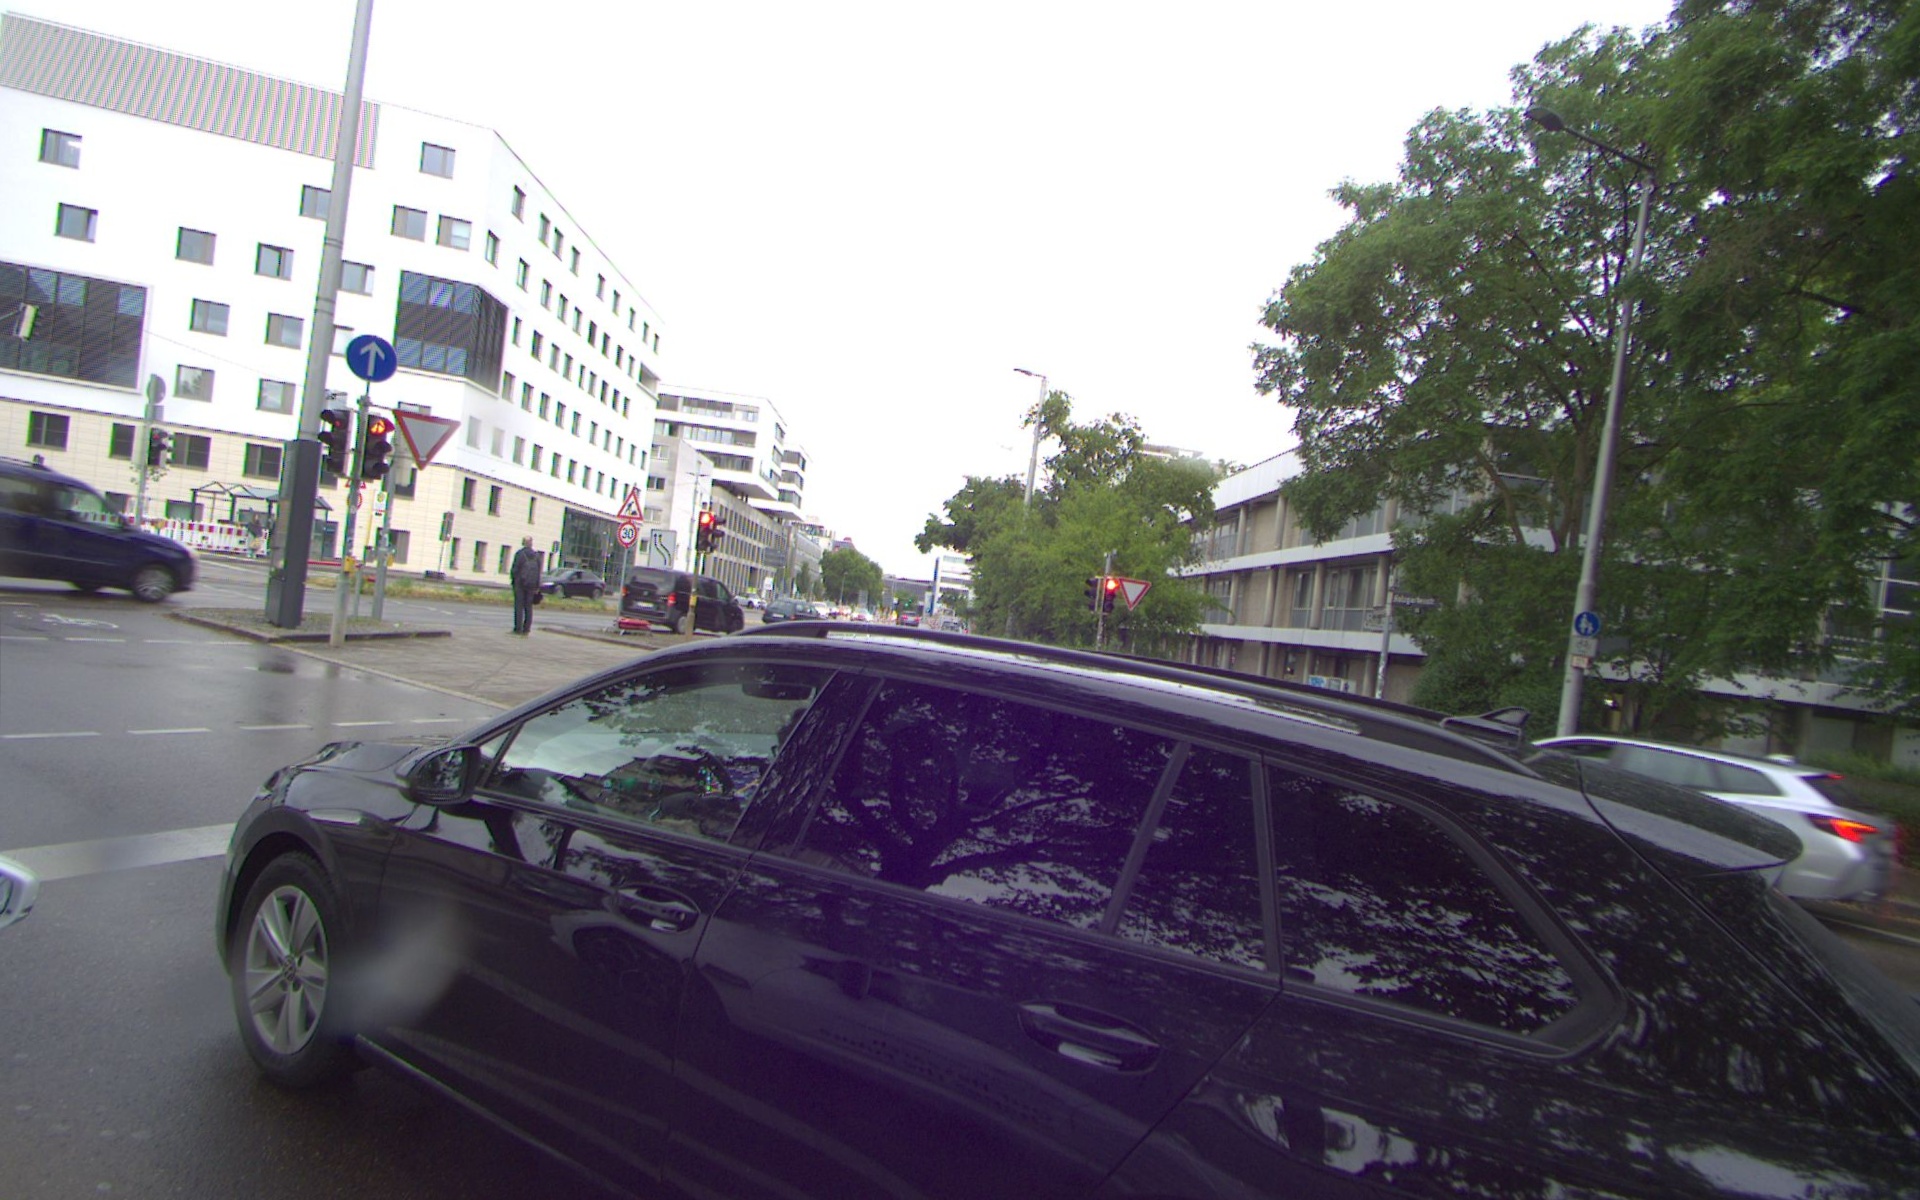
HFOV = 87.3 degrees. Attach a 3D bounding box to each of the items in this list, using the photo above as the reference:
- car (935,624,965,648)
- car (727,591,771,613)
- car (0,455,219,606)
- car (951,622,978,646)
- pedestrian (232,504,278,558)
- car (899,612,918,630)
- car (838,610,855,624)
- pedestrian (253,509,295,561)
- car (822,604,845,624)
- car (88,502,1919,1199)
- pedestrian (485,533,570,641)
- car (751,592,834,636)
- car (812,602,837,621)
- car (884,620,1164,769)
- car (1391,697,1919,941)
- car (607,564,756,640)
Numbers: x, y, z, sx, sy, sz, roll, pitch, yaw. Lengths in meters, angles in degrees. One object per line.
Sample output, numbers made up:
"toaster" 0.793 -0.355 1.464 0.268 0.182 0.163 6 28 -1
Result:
"car" -0.711 2.604 72.225 1.833 1.437 4.005 7 -3 2
"car" -20.785 0.164 99.124 4.003 1.575 1.962 7 -3 38
"car" -13.855 -1.103 14.833 1.764 1.931 4.311 8 -1 19
"car" 0.367 2.842 82.437 1.834 1.669 4.780 7 -3 -2
"pedestrian" -26.787 -2.610 38.232 0.808 1.861 0.955 6 -2 21
"car" -5.626 2.307 109.451 1.835 1.669 4.778 7 -3 -4
"car" -15.980 2.379 141.643 1.966 1.684 4.382 8 -1 -8
"pedestrian" -27.745 -2.625 40.666 0.941 1.957 1.001 5 -2 41
"car" -12.630 1.337 100.124 1.966 1.684 4.382 8 -1 -8
"car" -0.317 0.770 2.756 4.435 1.483 1.673 8 0 30
"pedestrian" -8.323 -0.235 19.386 1.009 1.913 0.830 6 -2 23
"car" -7.759 0.688 47.047 1.962 1.693 4.974 7 -1 13
"car" -11.886 0.983 87.863 1.966 1.394 4.382 8 -1 -8
"car" 0.755 1.273 14.420 1.851 1.466 3.964 9 -2 -34
"car" 7.251 2.136 10.817 1.853 1.467 4.359 9 -1 -37
"car" -8.465 0.126 31.134 1.962 1.830 4.790 7 -1 18
